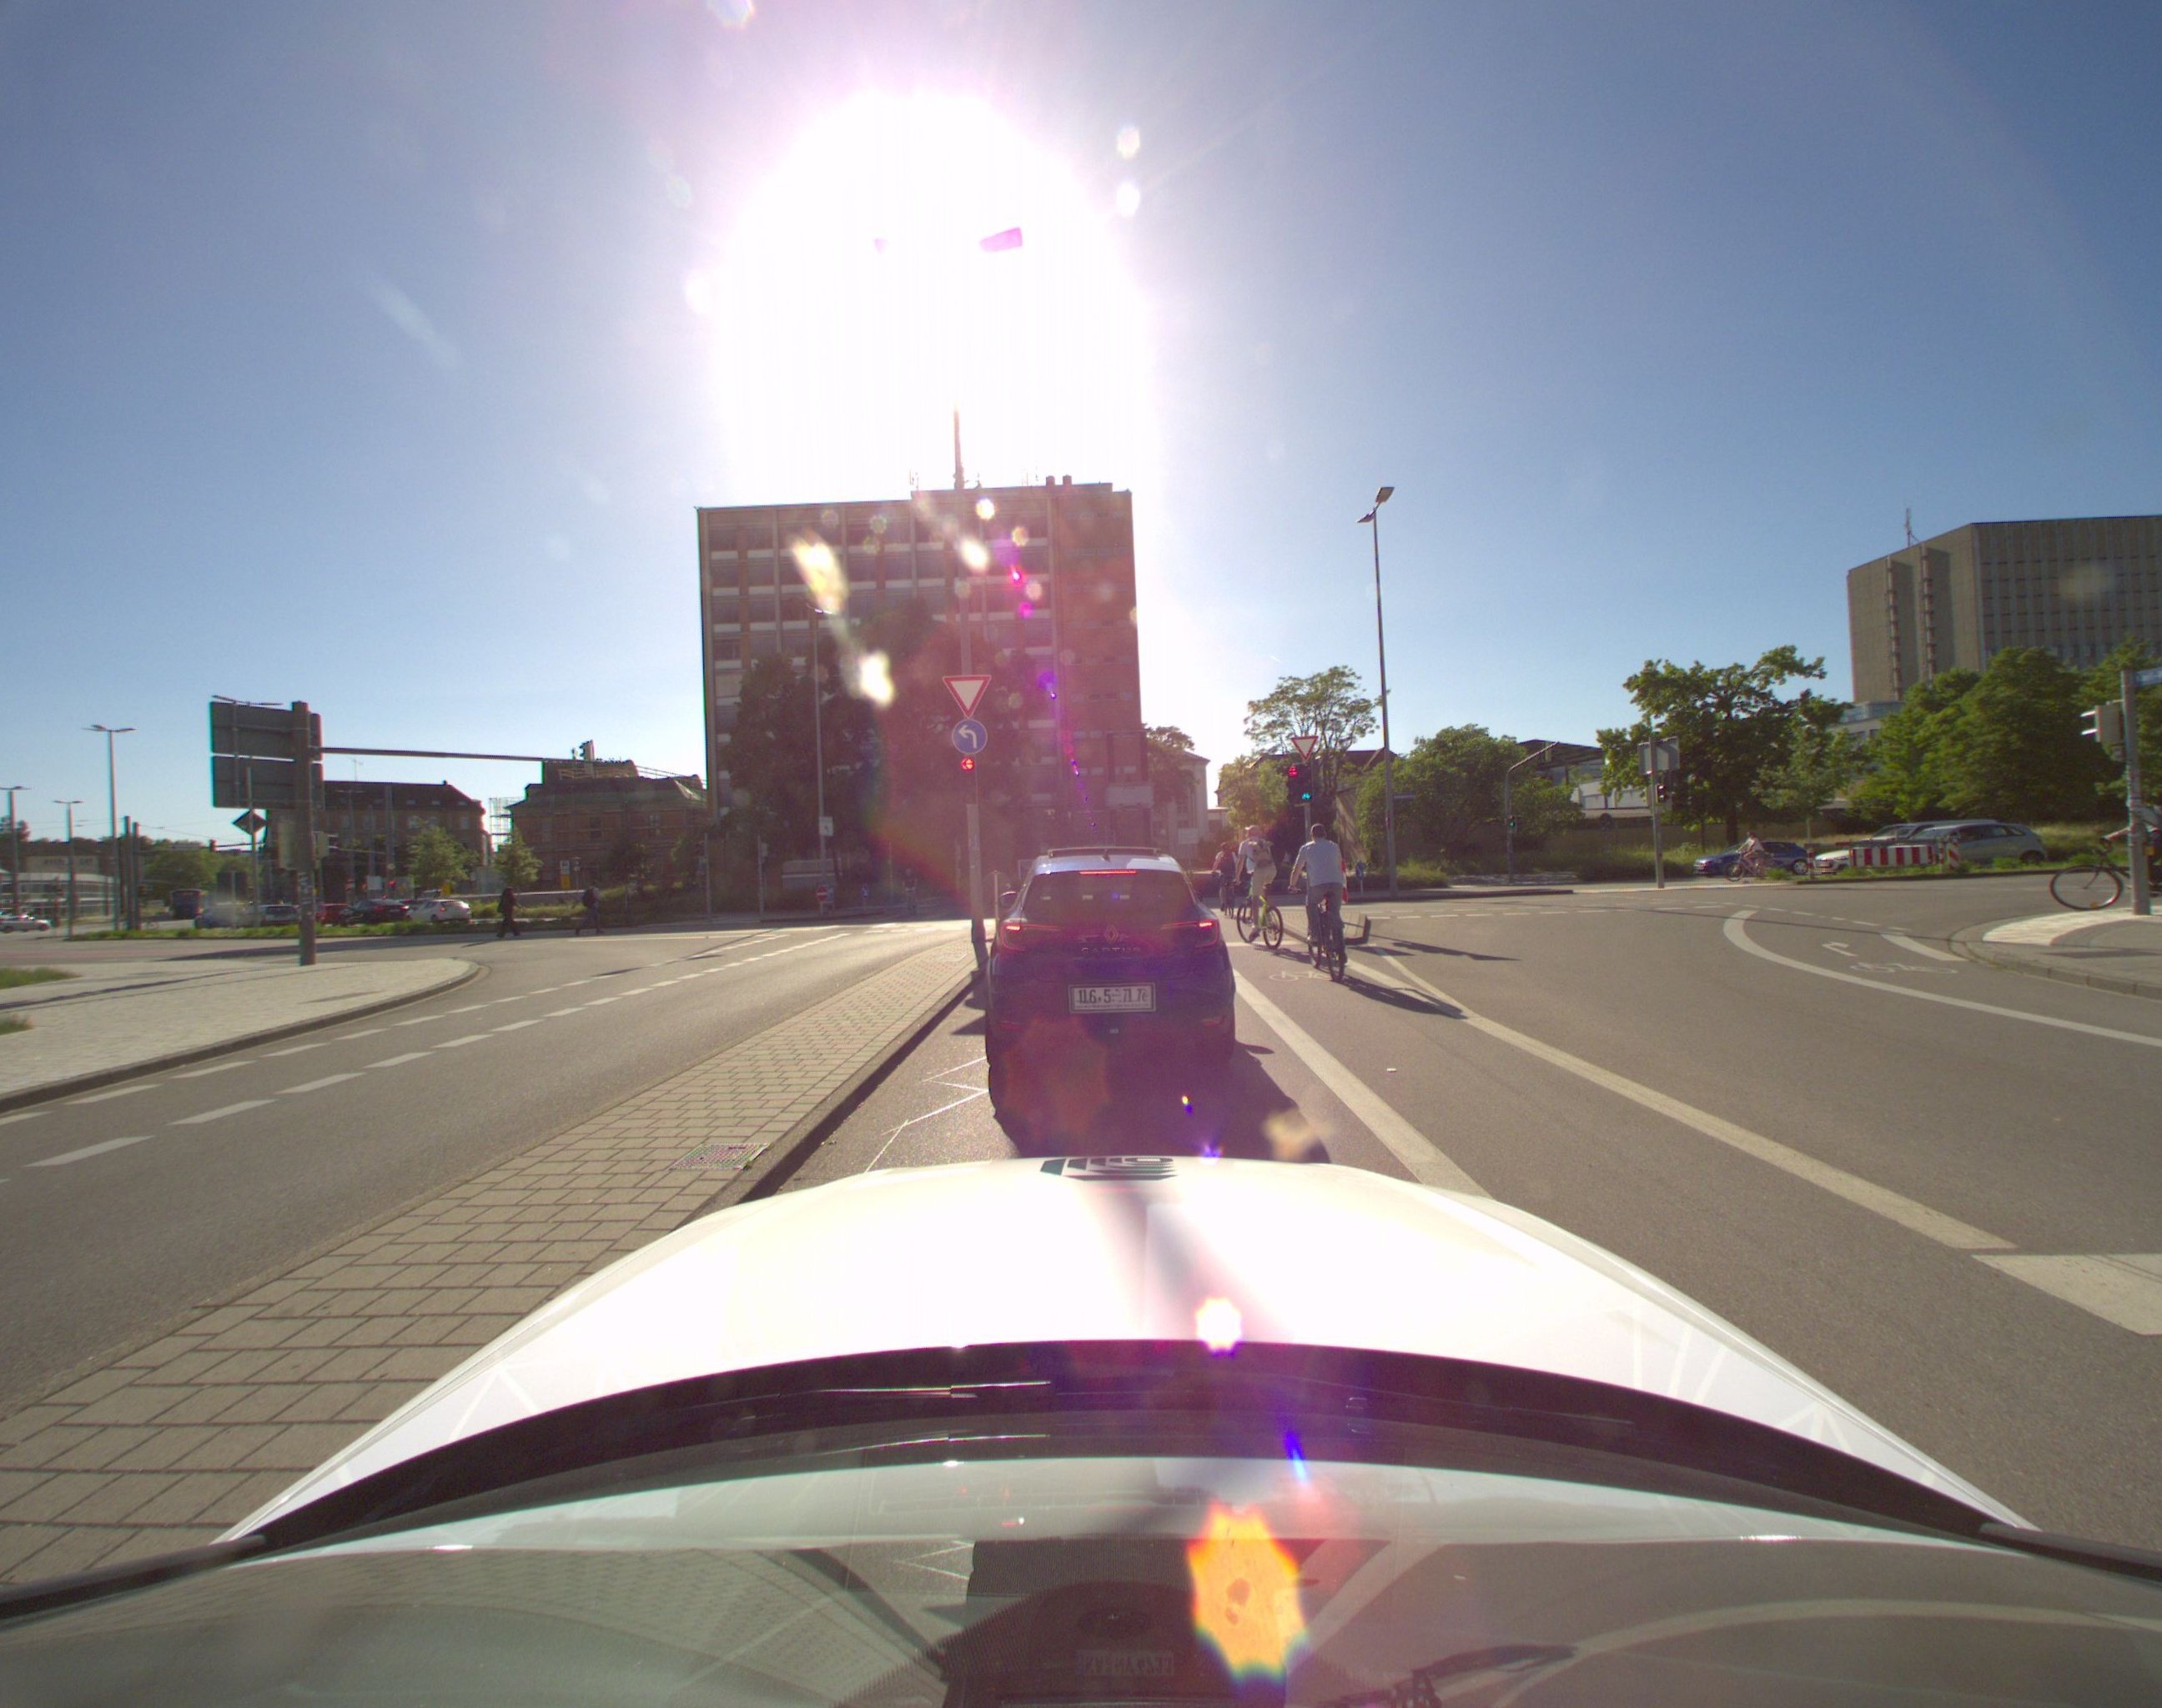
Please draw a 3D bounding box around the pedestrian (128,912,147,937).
[{"bbox_3d":[-62.349,4.633,53.819,0.565,1.611,0.573,0,-1,1],"label":"pedestrian"}]

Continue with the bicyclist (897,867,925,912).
[{"bbox_3d":[-6.469,1.330,31.004,0.717,1.621,0.978,-4,-1,1],"label":"bicyclist"}]

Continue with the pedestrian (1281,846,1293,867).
[{"bbox_3d":[16.060,0.198,63.581,0.669,1.643,0.740,-1,-1,35],"label":"pedestrian"}]

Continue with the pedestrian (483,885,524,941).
[{"bbox_3d":[-17.459,1.782,24.634,0.711,1.612,0.685,-3,-1,19],"label":"pedestrian"}]

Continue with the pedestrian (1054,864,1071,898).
[{"bbox_3d":[-1.013,1.472,44.738,0.727,1.816,0.735,-1,-1,19],"label":"pedestrian"}]

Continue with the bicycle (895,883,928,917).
[{"bbox_3d":[-6.443,1.728,31.047,0.743,1.165,1.871,-4,-1,2],"label":"bicycle"}]

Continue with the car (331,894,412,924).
[{"bbox_3d":[-42.687,3.310,48.970,4.324,1.624,2.002,-3,-1,24],"label":"car"}]

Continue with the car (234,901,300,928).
[{"bbox_3d":[-48.886,3.643,48.890,3.750,1.442,1.741,-3,-1,28],"label":"car"}]

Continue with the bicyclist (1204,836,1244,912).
[{"bbox_3d":[3.388,0.465,19.373,0.717,1.735,0.978,-2,-1,1],"label":"bicyclist"}]

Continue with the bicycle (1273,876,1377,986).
[{"bbox_3d":[2.958,0.886,10.069,0.713,1.165,1.870,-2,0,1],"label":"bicycle"}]

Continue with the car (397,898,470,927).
[{"bbox_3d":[-36.488,3.280,45.883,3.690,1.436,1.706,-3,-1,24],"label":"car"}]

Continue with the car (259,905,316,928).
[{"bbox_3d":[-53.611,4.225,55.011,3.750,1.443,1.741,-3,-3,29],"label":"car"}]

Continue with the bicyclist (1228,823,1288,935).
[{"bbox_3d":[2.901,0.400,13.422,0.717,1.763,0.978,-2,-1,1],"label":"bicyclist"}]

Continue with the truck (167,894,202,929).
[{"bbox_3d":[-102.803,6.551,93.354,5.159,3.675,2.618,-1,-1,42],"label":"truck"}]

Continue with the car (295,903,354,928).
[{"bbox_3d":[-48.022,3.895,51.673,3.674,1.443,1.687,-3,-3,29],"label":"car"}]

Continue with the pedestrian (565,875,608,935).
[{"bbox_3d":[-15.696,1.607,25.870,0.753,1.833,1.093,-2,-2,-6],"label":"pedestrian"}]

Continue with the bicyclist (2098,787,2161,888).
[{"bbox_3d":[15.725,-0.249,12.030,0.645,1.444,0.769,-4,1,-31],"label":"bicyclist"}]

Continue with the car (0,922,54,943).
[{"bbox_3d":[-91.868,6.775,70.314,1.774,1.544,3.641,0,-1,2],"label":"car"}]

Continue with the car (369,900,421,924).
[{"bbox_3d":[-50.408,4.284,59.828,3.578,1.618,1.894,-4,-3,31],"label":"car"}]

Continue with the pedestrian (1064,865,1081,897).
[{"bbox_3d":[-0.485,1.489,45.633,0.727,1.782,0.735,-1,-1,19],"label":"pedestrian"}]

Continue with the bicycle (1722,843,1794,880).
[{"bbox_3d":[24.120,0.264,29.040,1.856,1.165,0.749,-4,-1,3],"label":"bicycle"}]

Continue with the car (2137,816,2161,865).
[{"bbox_3d":[36.876,-0.550,25.476,4.685,1.554,1.986,-2,-2,5],"label":"car"}]

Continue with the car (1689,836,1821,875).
[{"bbox_3d":[28.160,0.077,34.121,3.967,1.442,1.707,-2,-2,5],"label":"car"}]

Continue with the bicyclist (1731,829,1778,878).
[{"bbox_3d":[24.006,-0.016,29.047,0.970,1.685,0.747,-4,-1,3],"label":"bicyclist"}]

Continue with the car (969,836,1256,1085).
[{"bbox_3d":[0.265,0.705,7.219,1.870,1.617,3.799,0,0,2],"label":"car"}]

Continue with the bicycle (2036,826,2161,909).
[{"bbox_3d":[15.706,0.193,12.113,0.645,1.165,1.852,-4,1,-31],"label":"bicycle"}]

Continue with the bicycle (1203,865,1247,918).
[{"bbox_3d":[3.406,0.856,19.396,0.743,1.165,1.871,-2,0,2],"label":"bicycle"}]

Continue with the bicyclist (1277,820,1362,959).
[{"bbox_3d":[2.942,0.418,10.134,0.717,1.617,0.978,-2,-1,1],"label":"bicyclist"}]

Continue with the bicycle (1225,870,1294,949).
[{"bbox_3d":[2.927,0.872,13.529,0.743,1.165,1.871,-2,0,2],"label":"bicycle"}]

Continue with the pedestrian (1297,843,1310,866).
[{"bbox_3d":[16.340,0.053,59.732,0.669,1.643,0.740,-1,-1,41],"label":"pedestrian"}]

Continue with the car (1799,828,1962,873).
[{"bbox_3d":[30.330,-0.113,31.047,3.962,1.469,2.005,-3,-1,10],"label":"car"}]

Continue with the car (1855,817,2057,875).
[{"bbox_3d":[28.017,-0.209,26.203,4.281,1.625,1.792,-2,-2,5],"label":"car"}]

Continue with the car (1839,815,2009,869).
[{"bbox_3d":[34.819,-0.451,33.762,4.718,1.953,1.942,-2,-2,5],"label":"car"}]

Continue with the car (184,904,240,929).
[{"bbox_3d":[-55.085,3.971,51.607,3.859,1.443,1.741,-3,-3,33],"label":"car"}]
